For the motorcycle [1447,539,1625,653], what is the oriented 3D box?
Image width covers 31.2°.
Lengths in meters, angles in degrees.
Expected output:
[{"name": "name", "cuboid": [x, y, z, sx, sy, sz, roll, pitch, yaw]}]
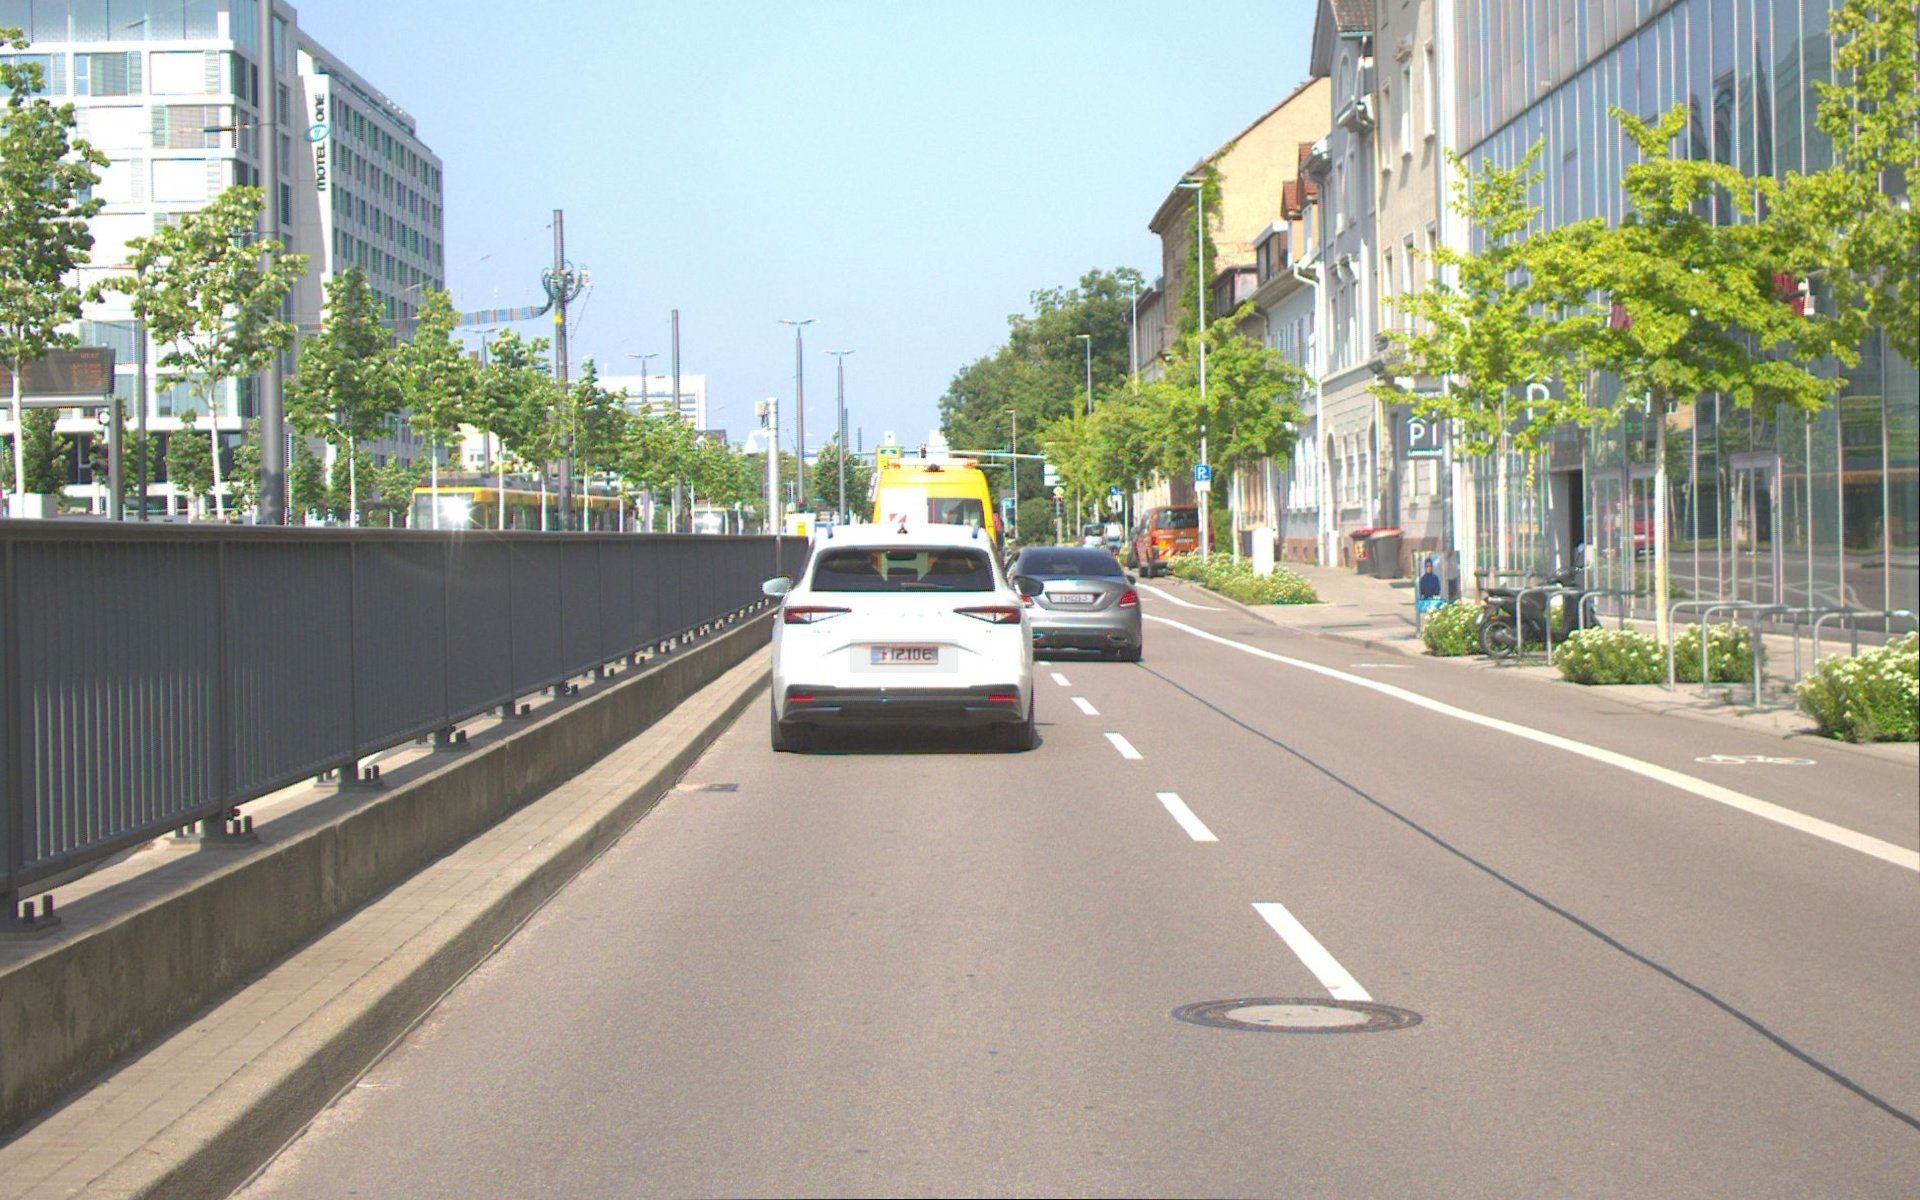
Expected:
[{"name": "motorcycle", "cuboid": [7.098, -0.060, 42.400, 1.968, 1.345, 0.868, -1, 1, -11]}]

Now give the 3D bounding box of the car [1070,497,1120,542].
[{"name": "car", "cuboid": [5.502, -3.291, 140.298, 1.812, 1.806, 3.836, 0, 2, -1]}]

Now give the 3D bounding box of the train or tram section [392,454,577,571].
[{"name": "train or tram section", "cuboid": [-16.078, -2.952, 117.949, 2.906, 3.663, 18.136, 1, 1, 3]}]

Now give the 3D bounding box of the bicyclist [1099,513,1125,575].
[{"name": "bicyclist", "cuboid": [3.890, -1.447, 87.960, 0.639, 1.571, 0.771, -1, 1, 2]}]

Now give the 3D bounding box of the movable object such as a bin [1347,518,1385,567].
[{"name": "movable object such as a bin", "cuboid": [9.704, -1.378, 82.226, 0.669, 1.148, 0.617, -3, 5, -44]}]

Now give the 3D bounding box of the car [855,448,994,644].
[{"name": "car", "cuboid": [-0.524, -0.919, 53.478, 2.020, 2.786, 5.402, -1, 3, 0]}]

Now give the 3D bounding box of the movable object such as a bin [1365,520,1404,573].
[{"name": "movable object such as a bin", "cuboid": [9.736, -1.222, 78.806, 0.781, 1.168, 0.808, 0, 3, -1]}]

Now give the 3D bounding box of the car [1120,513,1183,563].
[{"name": "car", "cuboid": [6.087, -1.982, 109.816, 1.673, 1.478, 4.312, -2, 1, -1]}]

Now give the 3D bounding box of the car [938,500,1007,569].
[{"name": "car", "cuboid": [0.347, -1.991, 104.256, 1.993, 2.007, 4.000, 1, 1, -1]}]

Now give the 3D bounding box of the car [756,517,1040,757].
[{"name": "car", "cuboid": [-0.413, 0.200, 24.934, 1.870, 1.569, 4.000, -1, 2, 0]}]

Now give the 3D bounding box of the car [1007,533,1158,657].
[{"name": "car", "cuboid": [1.502, -0.094, 43.519, 1.760, 1.431, 4.115, 1, 2, 0]}]

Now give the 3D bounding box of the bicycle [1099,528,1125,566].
[{"name": "bicycle", "cuboid": [3.885, -1.359, 87.970, 0.655, 0.935, 1.517, -1, 1, 2]}]

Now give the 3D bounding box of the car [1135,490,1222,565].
[{"name": "car", "cuboid": [6.117, -2.072, 96.696, 2.063, 2.006, 4.589, -1, 2, -1]}]
